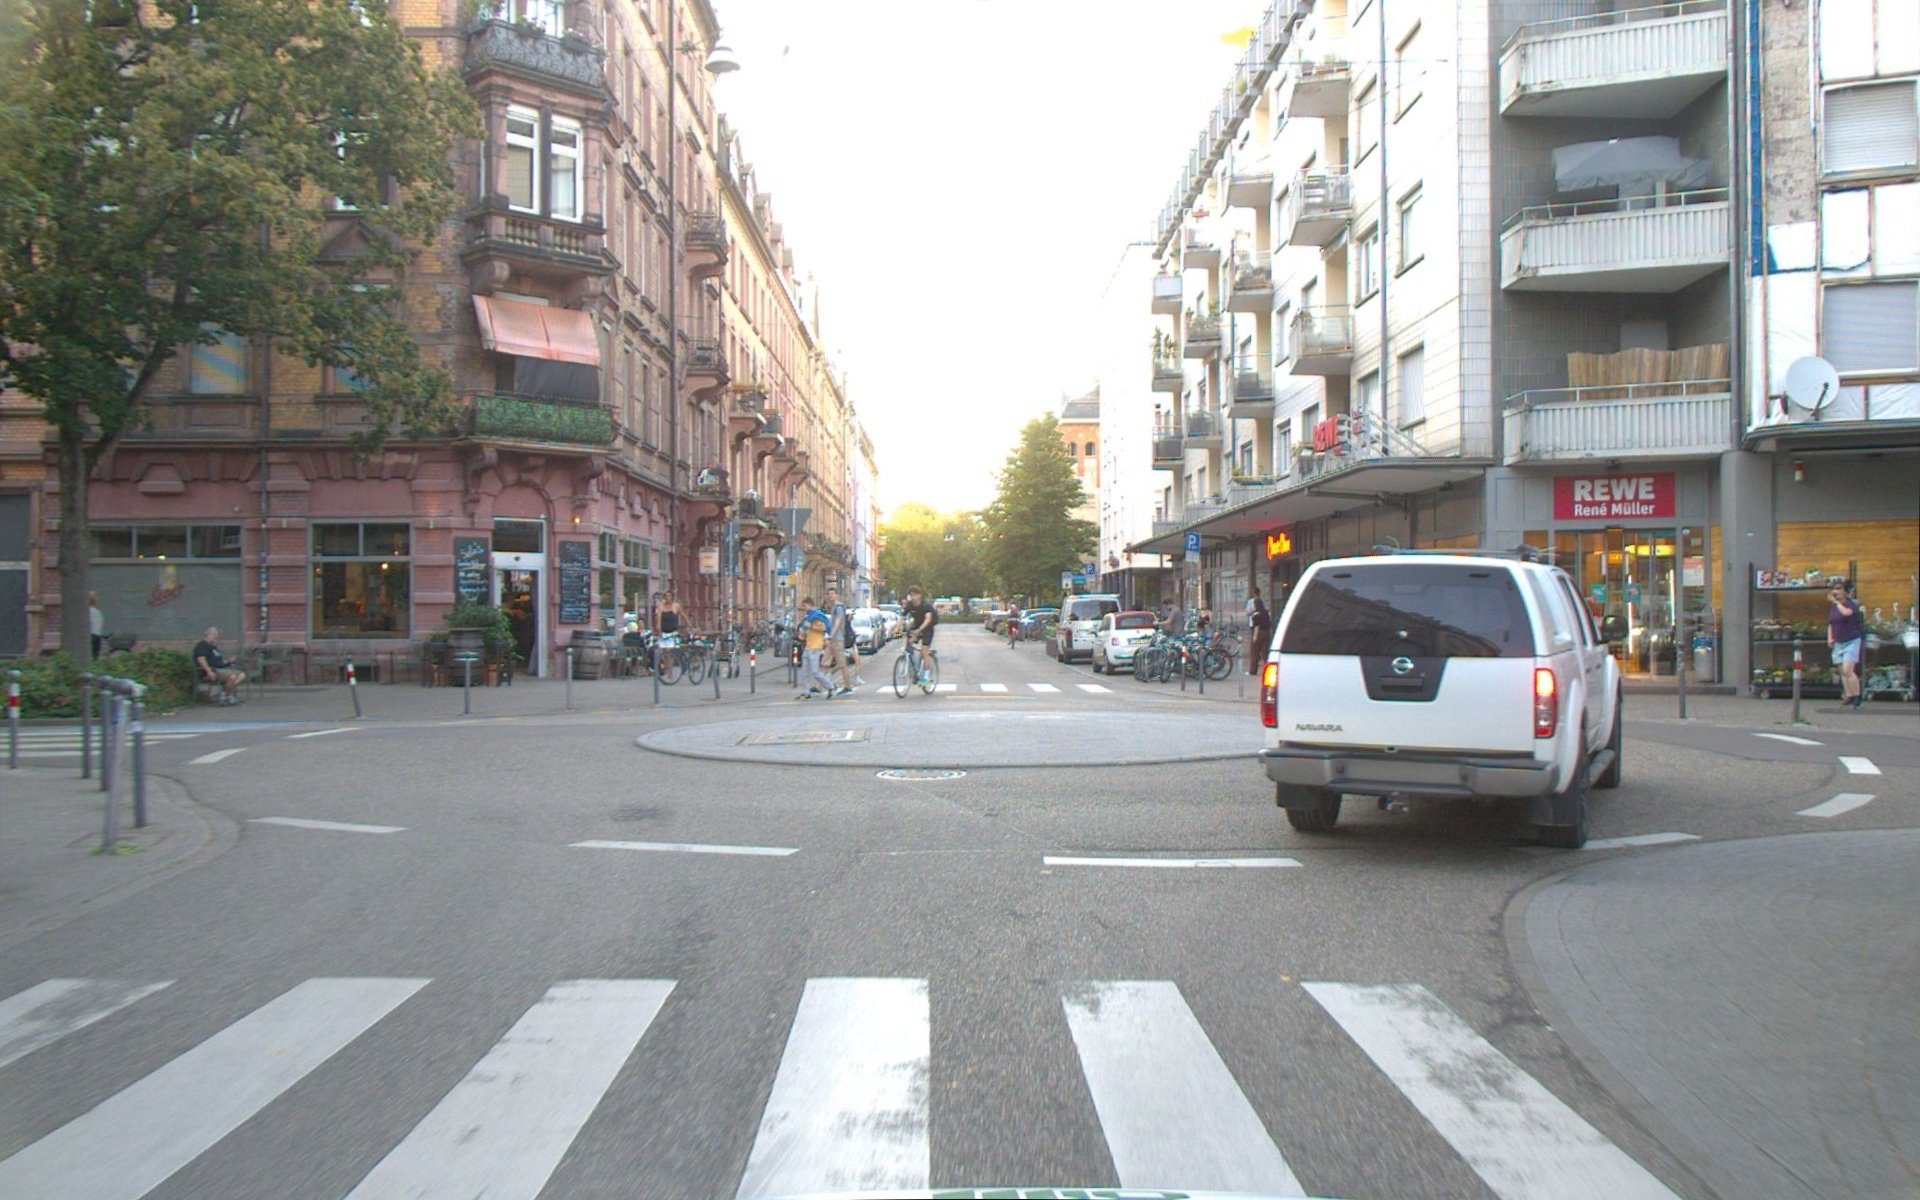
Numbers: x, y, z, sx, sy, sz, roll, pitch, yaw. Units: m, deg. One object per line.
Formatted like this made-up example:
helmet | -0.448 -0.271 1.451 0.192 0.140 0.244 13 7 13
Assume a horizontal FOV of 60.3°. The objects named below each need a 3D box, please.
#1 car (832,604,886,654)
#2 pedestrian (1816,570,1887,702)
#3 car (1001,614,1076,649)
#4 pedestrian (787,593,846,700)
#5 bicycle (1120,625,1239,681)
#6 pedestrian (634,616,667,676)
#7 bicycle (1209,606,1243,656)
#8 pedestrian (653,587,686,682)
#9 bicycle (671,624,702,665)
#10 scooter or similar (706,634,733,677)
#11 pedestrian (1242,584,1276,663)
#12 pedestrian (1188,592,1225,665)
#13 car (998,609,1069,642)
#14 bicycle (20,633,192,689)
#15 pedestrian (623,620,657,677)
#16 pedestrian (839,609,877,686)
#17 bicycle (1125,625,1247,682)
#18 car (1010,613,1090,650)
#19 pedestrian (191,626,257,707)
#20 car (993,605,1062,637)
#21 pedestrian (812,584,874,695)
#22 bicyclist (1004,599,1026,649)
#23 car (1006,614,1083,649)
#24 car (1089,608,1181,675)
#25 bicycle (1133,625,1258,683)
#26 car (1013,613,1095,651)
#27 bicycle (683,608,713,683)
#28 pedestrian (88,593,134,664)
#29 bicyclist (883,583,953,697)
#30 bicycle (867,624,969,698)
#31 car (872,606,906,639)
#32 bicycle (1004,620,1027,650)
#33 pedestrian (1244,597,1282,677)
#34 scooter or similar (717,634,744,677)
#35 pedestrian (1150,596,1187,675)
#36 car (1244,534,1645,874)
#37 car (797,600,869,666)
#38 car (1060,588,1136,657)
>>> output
car | -3.732 1.082 61.839 1.797 1.780 4.161 1 -1 -1
pedestrian | 11.614 0.465 21.545 0.704 1.681 0.710 0 -2 38
car | 4.223 1.697 89.498 3.906 1.780 1.840 1 -1 -2
pedestrian | -2.437 0.786 28.055 0.887 1.767 0.614 1 -1 -12
bicycle | 4.687 1.118 35.347 2.414 1.056 0.616 -3 -1 -6
pedestrian | -6.877 1.014 36.821 0.636 1.308 0.539 1 -1 -4
bicycle | 7.782 0.909 48.476 0.544 1.432 2.094 1 -1 -3
pedestrian | -5.777 0.684 32.861 0.497 1.872 0.569 2 -1 -23
bicycle | -7.243 1.168 43.837 0.379 1.055 2.482 1 -1 1
scooter or similar | -5.365 1.229 36.834 0.230 0.945 1.256 2 -1 -25
pedestrian | 7.409 0.588 41.029 0.705 1.940 0.702 1 -1 0
pedestrian | 5.785 0.672 38.876 0.706 1.692 0.702 1 -1 -5
car | 4.148 1.475 93.855 3.906 1.780 1.840 1 -1 -2
bicycle | -15.951 1.139 30.934 2.837 0.975 0.625 1 -1 -2
pedestrian | -6.899 1.041 35.634 0.636 1.212 0.539 1 -1 -4
pedestrian | -2.255 1.042 36.544 0.782 1.649 0.944 1 -1 -3
bicycle | 4.730 1.108 34.678 2.414 1.056 0.616 -3 -1 -6
car | 4.548 1.607 83.931 3.906 1.780 1.840 1 -1 -2
pedestrian | -11.907 1.068 26.782 0.739 1.285 0.668 1 -1 -1
car | 3.921 1.243 96.641 3.906 1.780 1.840 1 -1 -2
pedestrian | -2.056 0.694 29.071 0.894 1.918 0.609 2 -1 -31
bicyclist | 2.225 0.968 66.471 0.821 1.978 0.784 1 -1 -1
car | 4.405 1.650 86.589 3.906 1.780 1.840 1 -1 -2
car | 4.335 1.016 41.584 1.797 1.569 3.999 1 -1 -1
bicycle | 4.836 1.107 33.999 2.413 1.056 0.616 -3 -1 -5
car | 4.619 1.570 81.694 3.906 1.780 1.840 1 -1 -2
bicycle | -5.267 0.907 33.324 0.415 1.468 1.902 1 -1 -5
pedestrian | -15.460 0.518 30.121 0.446 1.285 0.575 0 -1 24
bicyclist | -0.710 0.674 28.299 0.823 1.909 0.876 0 -1 32
bicycle | -0.696 1.033 28.302 0.823 1.192 1.931 0 -1 32
car | -3.984 1.299 93.127 1.797 1.780 3.999 1 -1 -1
bicycle | 2.226 1.410 66.446 0.821 1.192 1.935 1 -1 -1
pedestrian | 6.582 0.801 35.949 0.704 1.692 0.703 1 -1 4
scooter or similar | -5.134 1.235 36.952 0.230 0.945 1.256 2 -1 -25
pedestrian | 4.567 0.781 36.266 0.705 1.692 0.702 1 -1 0
car | 3.625 0.527 11.628 1.900 1.841 4.996 1 1 26
car | -3.629 0.946 47.786 1.797 1.780 3.999 1 -1 -1
car | 4.156 0.698 50.368 1.903 1.967 3.999 1 -1 -1
